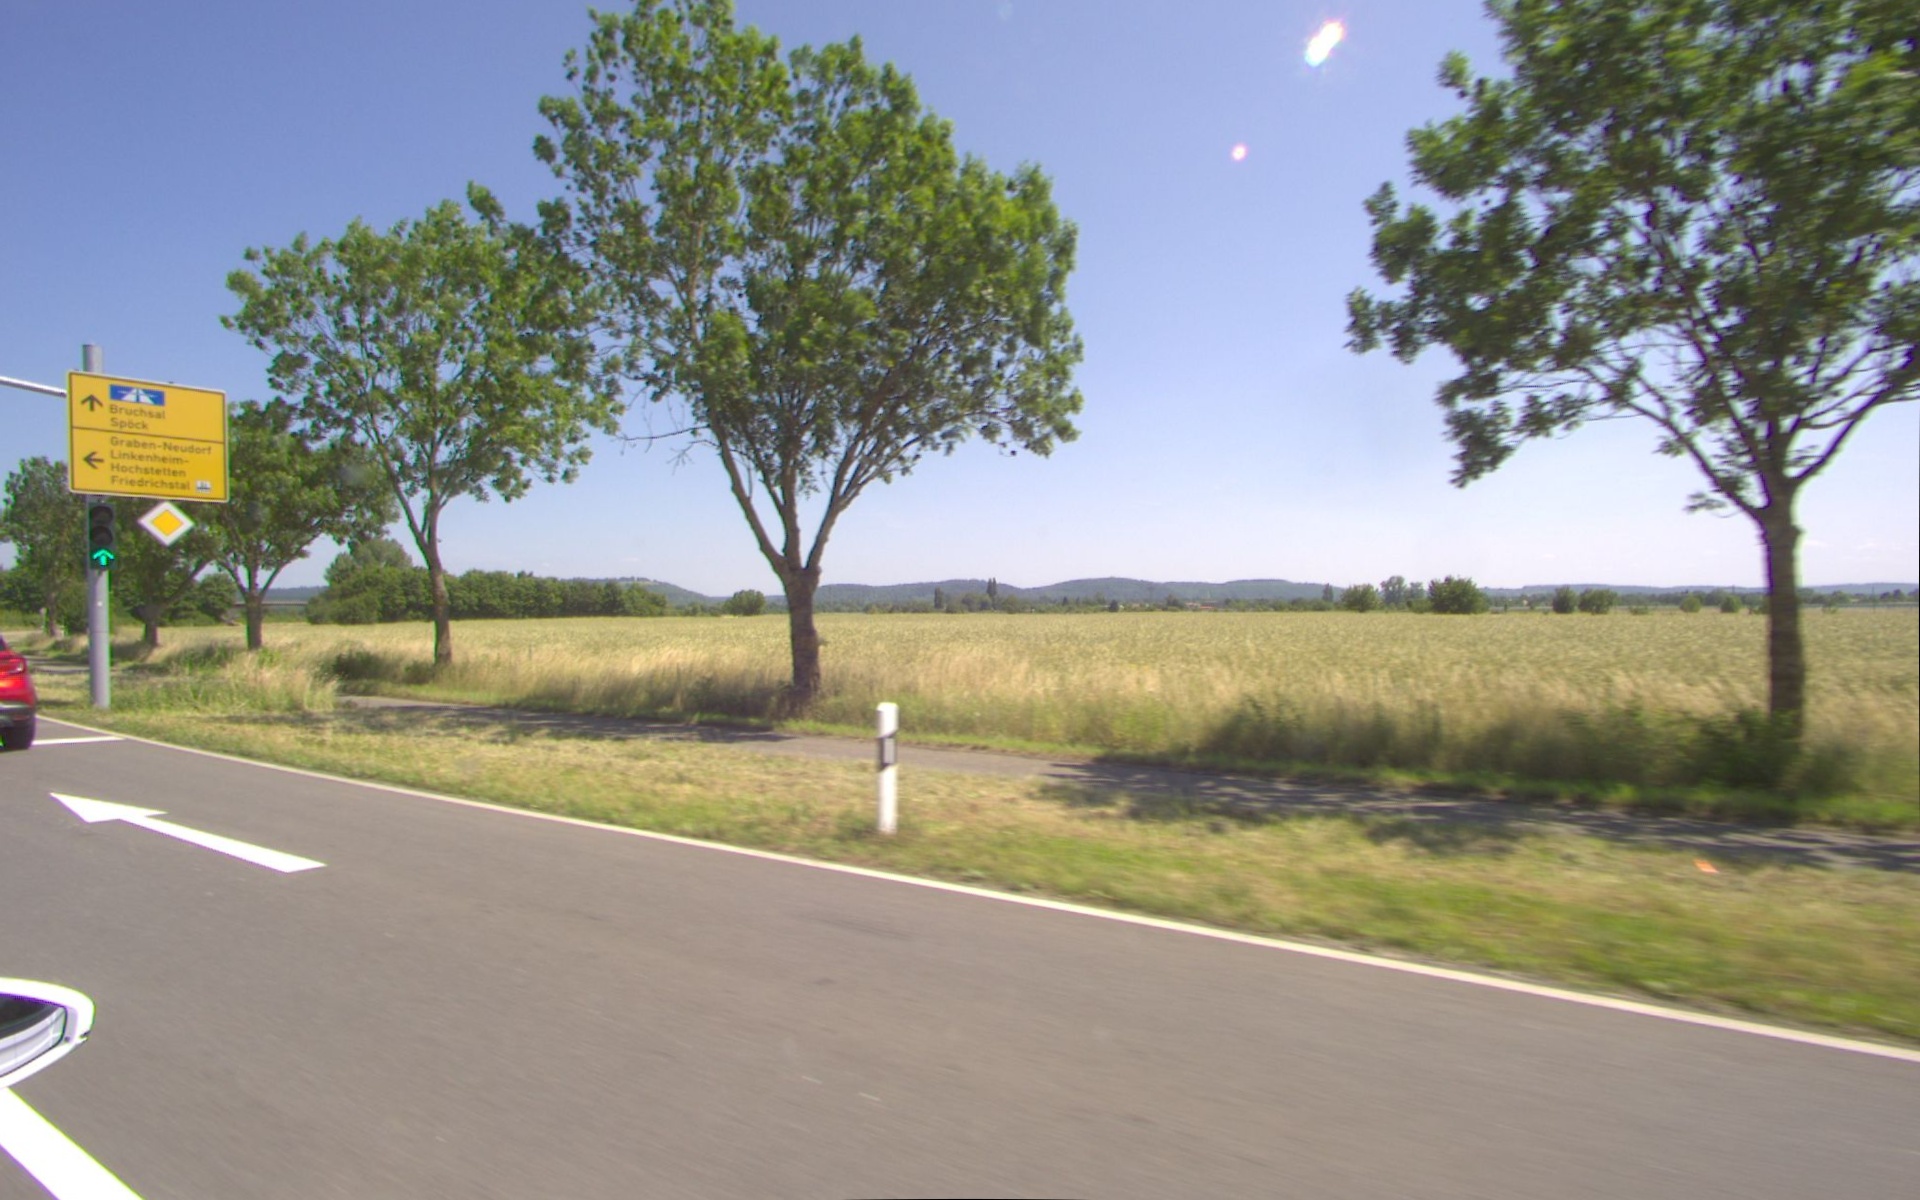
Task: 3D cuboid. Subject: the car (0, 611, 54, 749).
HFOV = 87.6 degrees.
[{"bbox_3d":[-12.957,0.933,12.338,4.391,1.572,1.817,-1,-2,36],"label":"car"}]
